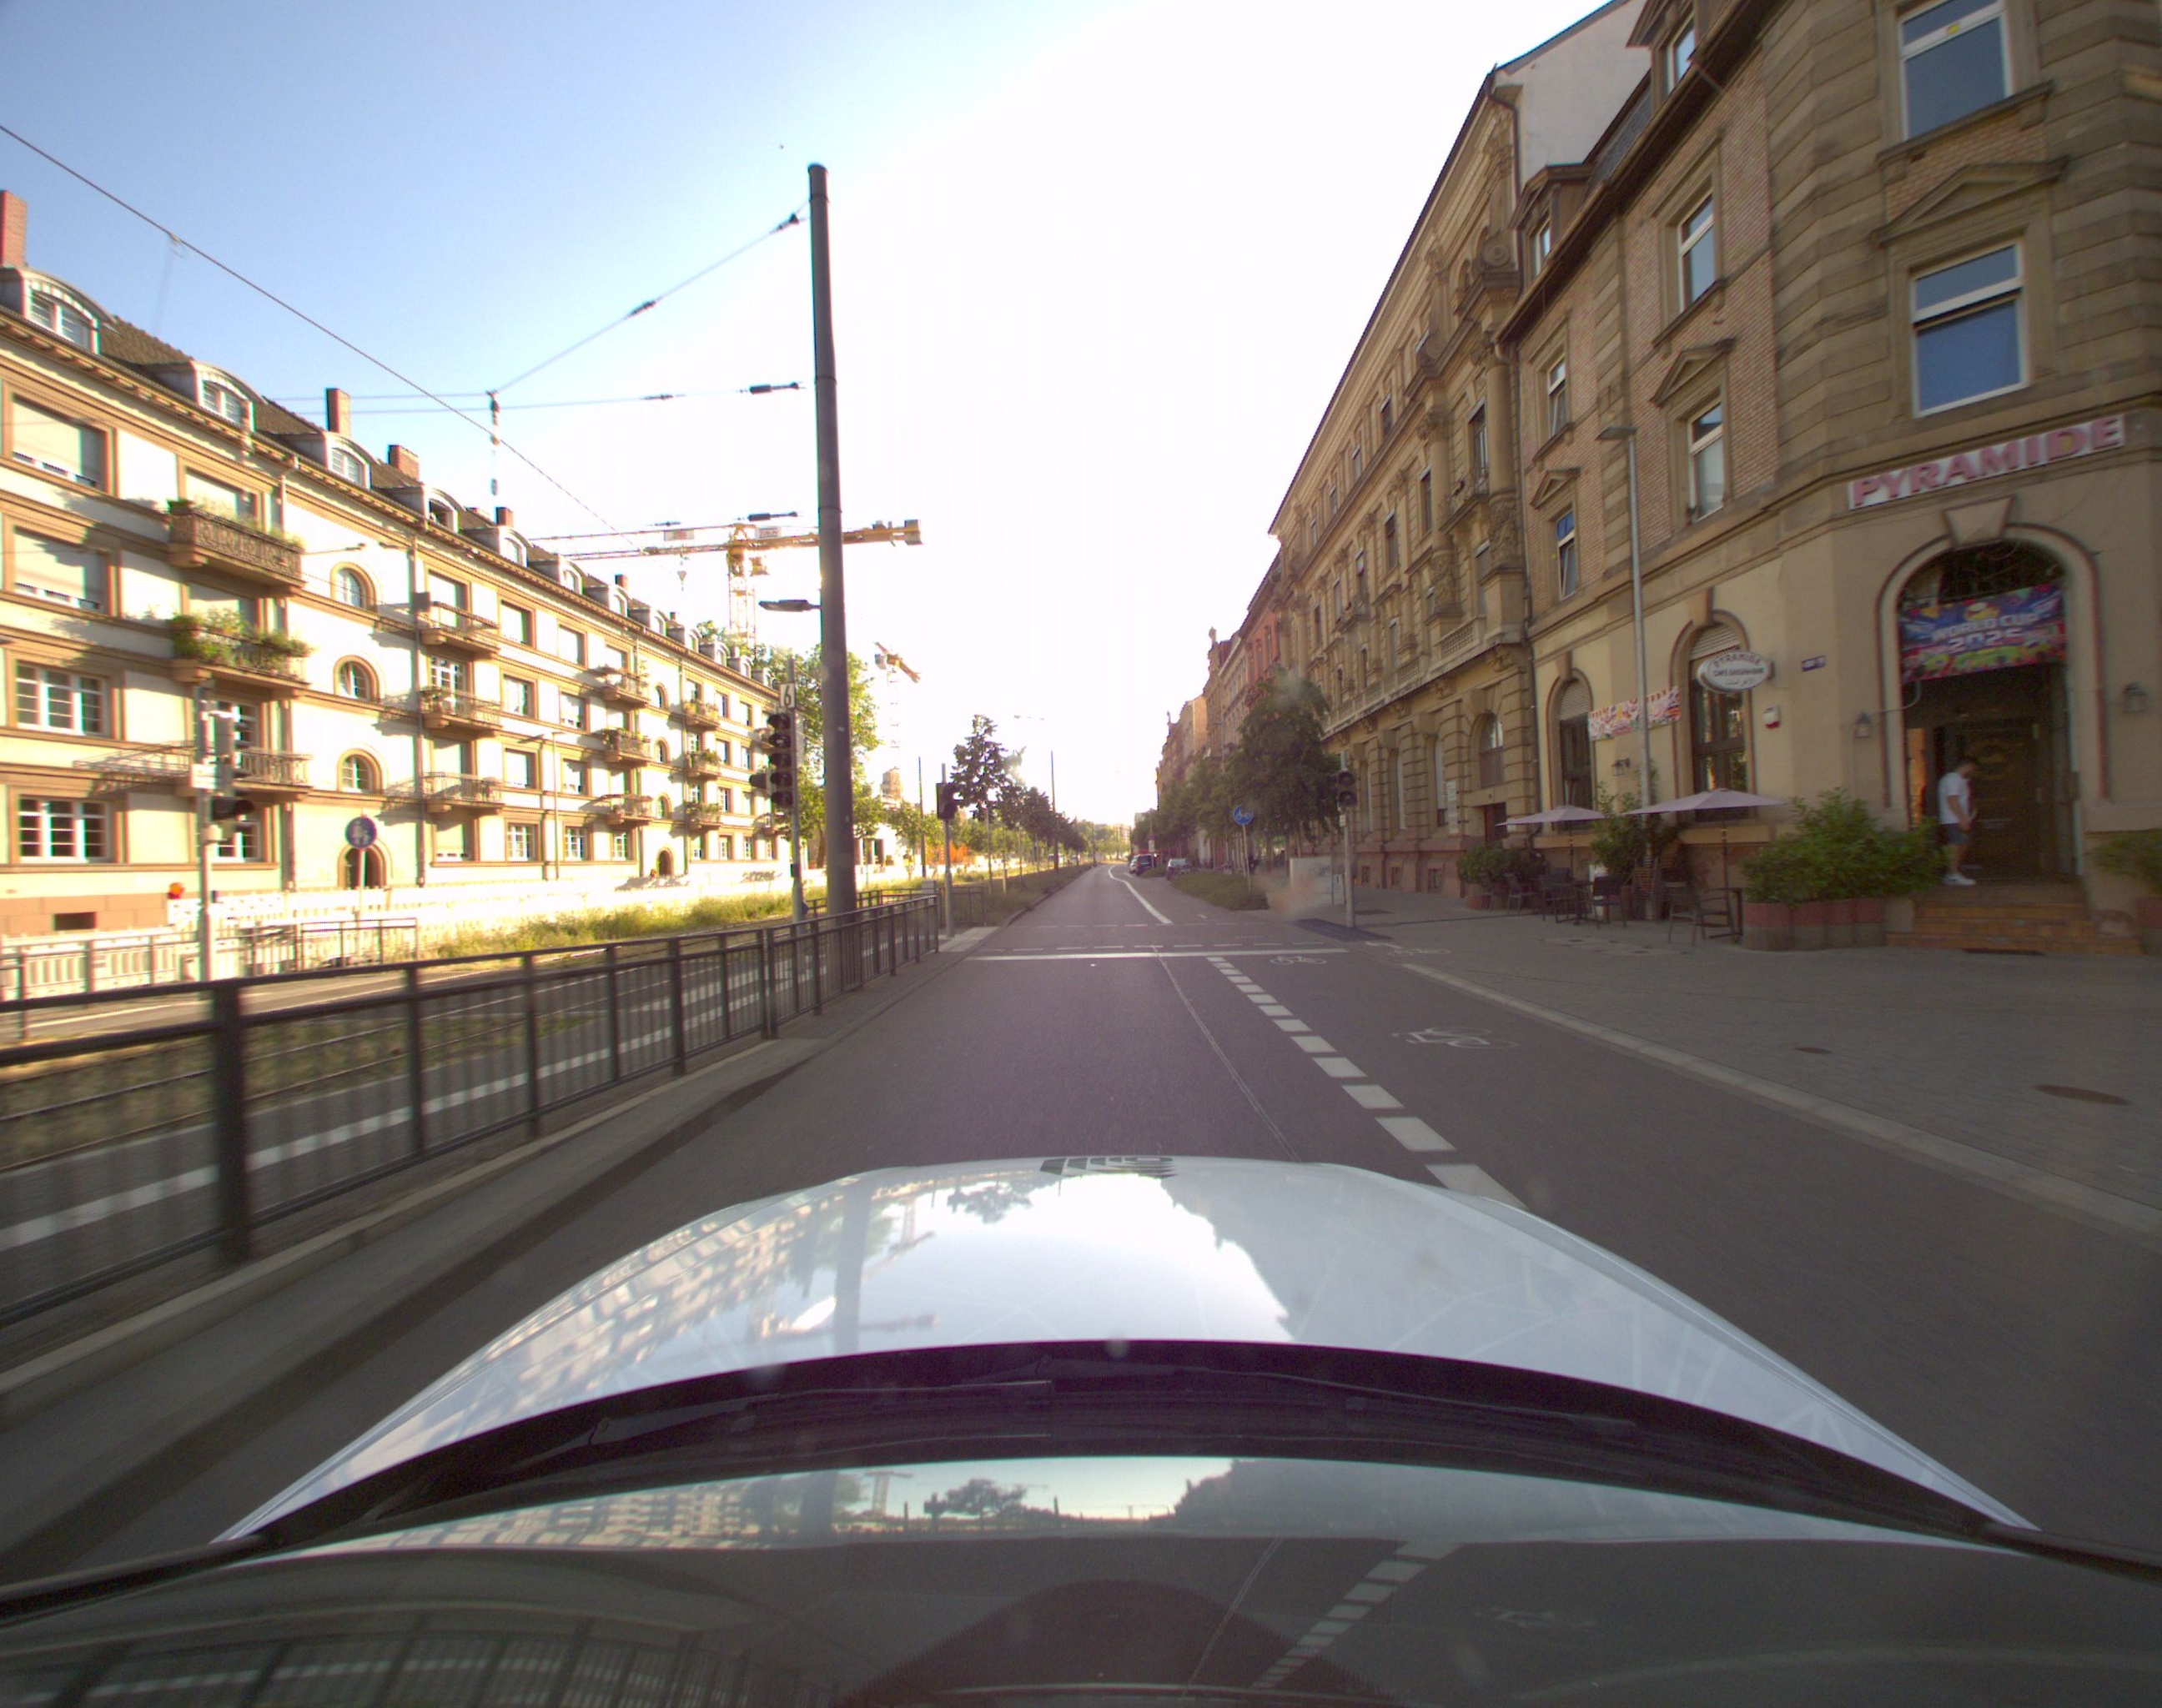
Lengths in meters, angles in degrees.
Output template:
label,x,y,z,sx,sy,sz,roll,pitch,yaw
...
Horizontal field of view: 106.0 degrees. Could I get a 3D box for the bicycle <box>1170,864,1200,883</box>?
label,x,y,z,sx,sy,sz,roll,pitch,yaw
bicycle,6.445,1.178,50.440,1.689,1.048,0.488,-4,0,-7

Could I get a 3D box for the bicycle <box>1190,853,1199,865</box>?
label,x,y,z,sx,sy,sz,roll,pitch,yaw
bicycle,12.963,0.560,93.347,0.658,1.402,2.353,-3,0,1

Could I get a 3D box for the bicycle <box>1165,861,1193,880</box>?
label,x,y,z,sx,sy,sz,roll,pitch,yaw
bicycle,6.431,1.086,53.582,1.685,1.048,0.489,-6,-1,1

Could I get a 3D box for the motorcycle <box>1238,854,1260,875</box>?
label,x,y,z,sx,sy,sz,roll,pitch,yaw
motorcycle,11.095,0.681,53.829,0.792,1.308,2.853,-4,0,1

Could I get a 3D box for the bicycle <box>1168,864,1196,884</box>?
label,x,y,z,sx,sy,sz,roll,pitch,yaw
bicycle,6.091,1.205,49.154,1.574,1.048,0.488,-4,0,-7

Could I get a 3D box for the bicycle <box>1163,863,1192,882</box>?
label,x,y,z,sx,sy,sz,roll,pitch,yaw
bicycle,6.177,1.158,52.111,1.685,1.048,0.489,-5,-1,1

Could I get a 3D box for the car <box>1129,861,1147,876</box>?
label,x,y,z,sx,sy,sz,roll,pitch,yaw
car,6.192,1.578,89.002,1.842,1.457,4.160,-3,0,3

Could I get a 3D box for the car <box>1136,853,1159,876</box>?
label,x,y,z,sx,sy,sz,roll,pitch,yaw
car,6.129,0.974,75.586,1.877,1.937,4.477,-3,0,3

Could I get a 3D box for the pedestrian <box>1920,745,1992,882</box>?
label,x,y,z,sx,sy,sz,roll,pitch,yaw
pedestrian,11.556,-0.523,10.768,0.442,1.740,0.546,-3,-1,29

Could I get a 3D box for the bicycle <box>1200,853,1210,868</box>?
label,x,y,z,sx,sy,sz,roll,pitch,yaw
bicycle,12.481,0.670,81.971,0.658,1.402,2.353,-3,0,1

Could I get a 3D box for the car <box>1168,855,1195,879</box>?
label,x,y,z,sx,sy,sz,roll,pitch,yaw
car,7.290,0.917,59.083,1.630,1.486,4.216,-4,0,4

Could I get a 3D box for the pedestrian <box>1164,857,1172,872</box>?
label,x,y,z,sx,sy,sz,roll,pitch,yaw
pedestrian,8.459,1.011,79.398,0.623,1.460,0.638,-2,-1,1

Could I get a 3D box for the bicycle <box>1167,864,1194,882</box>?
label,x,y,z,sx,sy,sz,roll,pitch,yaw
bicycle,6.226,1.184,50.981,1.574,1.048,0.488,-4,0,-7
